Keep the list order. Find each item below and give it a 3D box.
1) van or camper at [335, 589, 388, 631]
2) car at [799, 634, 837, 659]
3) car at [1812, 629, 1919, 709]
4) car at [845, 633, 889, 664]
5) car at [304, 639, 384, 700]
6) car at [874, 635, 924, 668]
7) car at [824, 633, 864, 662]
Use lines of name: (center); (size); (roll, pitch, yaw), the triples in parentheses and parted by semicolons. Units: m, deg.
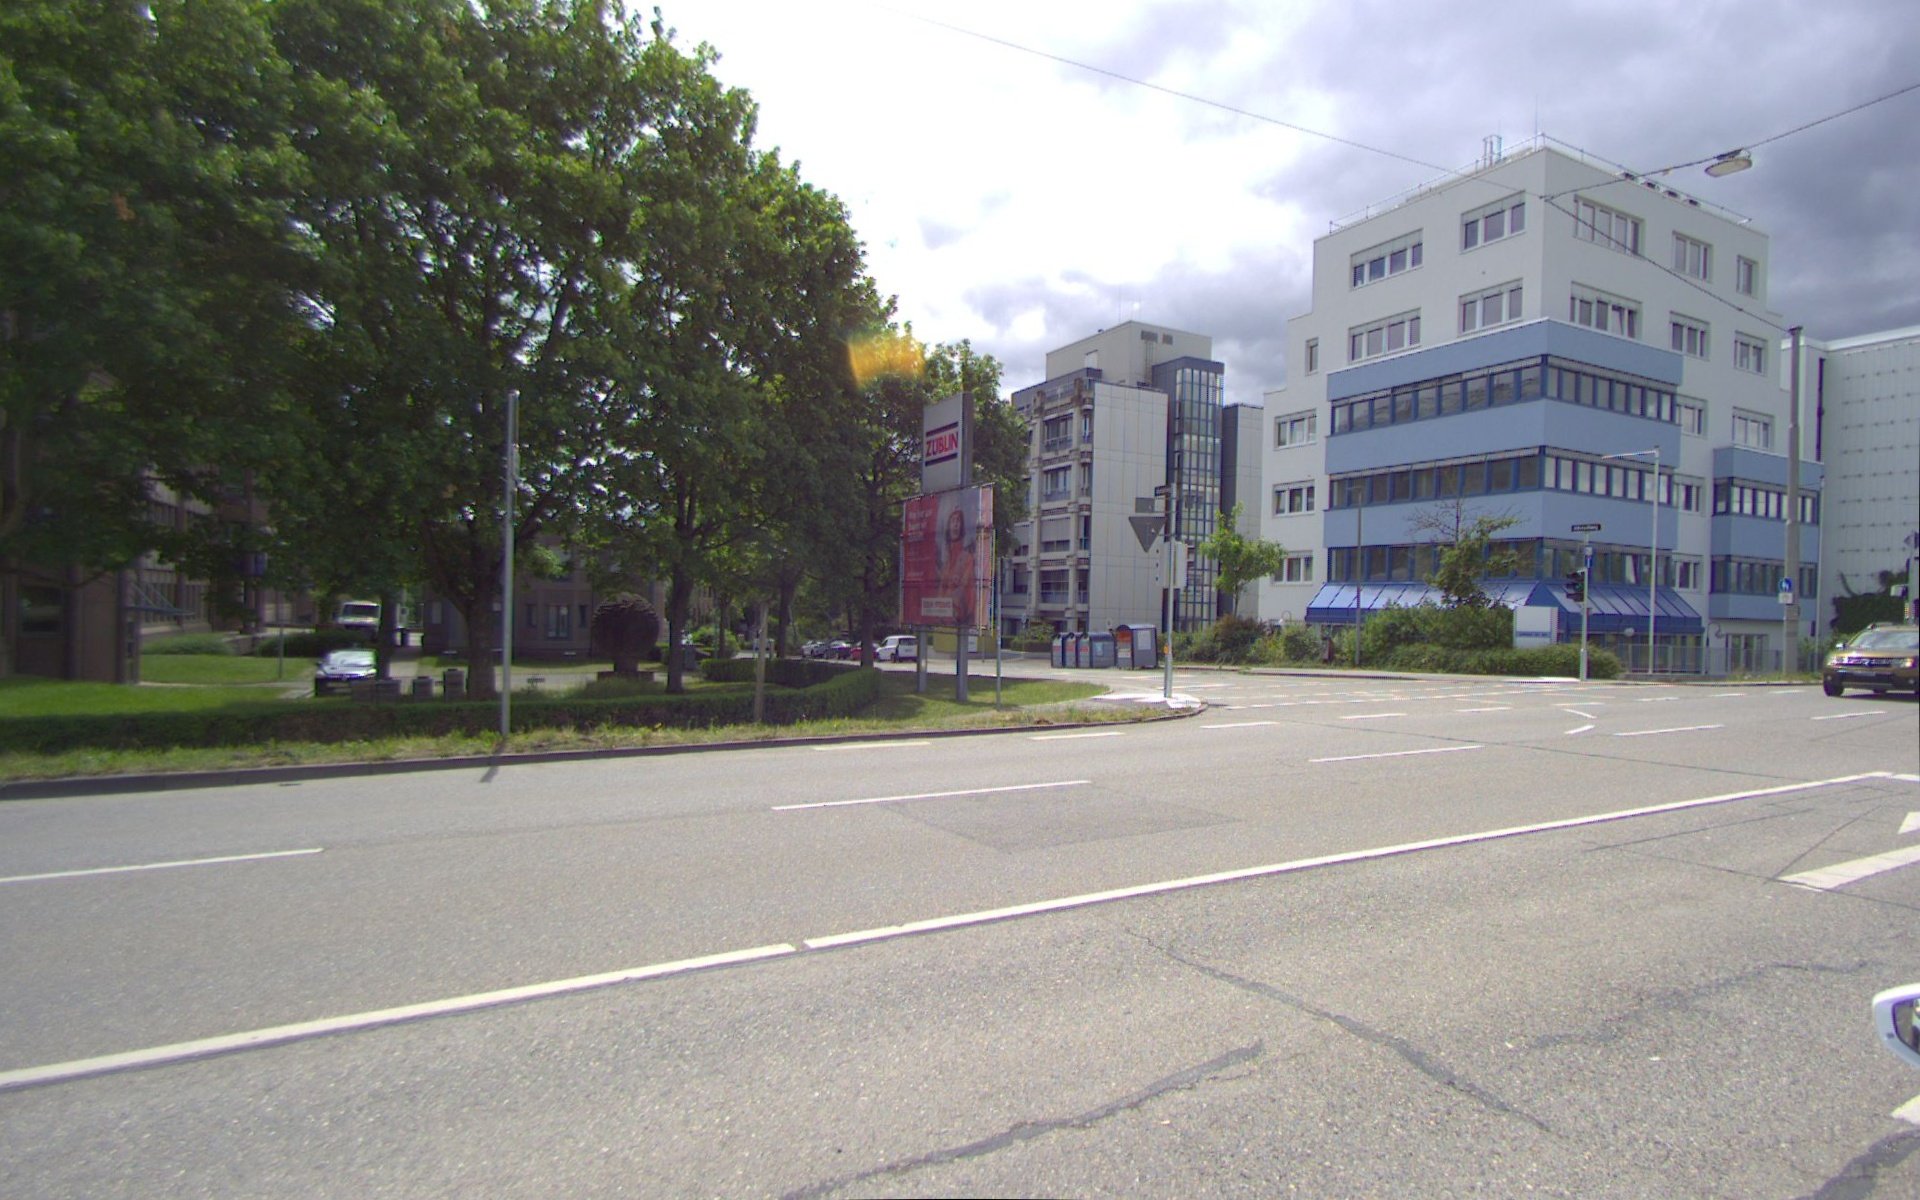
van or camper: (-32.873, 0.535, 55.182); (2.332, 2.132, 5.161); (2, -1, -31)
car: (-11.772, 3.843, 83.043); (1.875, 1.919, 3.973); (2, -1, -26)
car: (21.001, 1.490, 22.468); (3.953, 1.652, 1.743); (2, -2, -30)
car: (-6.727, 3.483, 72.678); (1.868, 2.040, 3.974); (2, -1, -26)
car: (-19.349, 2.135, 31.679); (1.764, 1.750, 3.973); (2, -2, -27)
car: (-4.130, 3.455, 67.803); (1.974, 2.006, 3.974); (2, -1, -26)
car: (-8.997, 3.655, 77.664); (1.848, 2.040, 3.973); (2, -1, -26)
